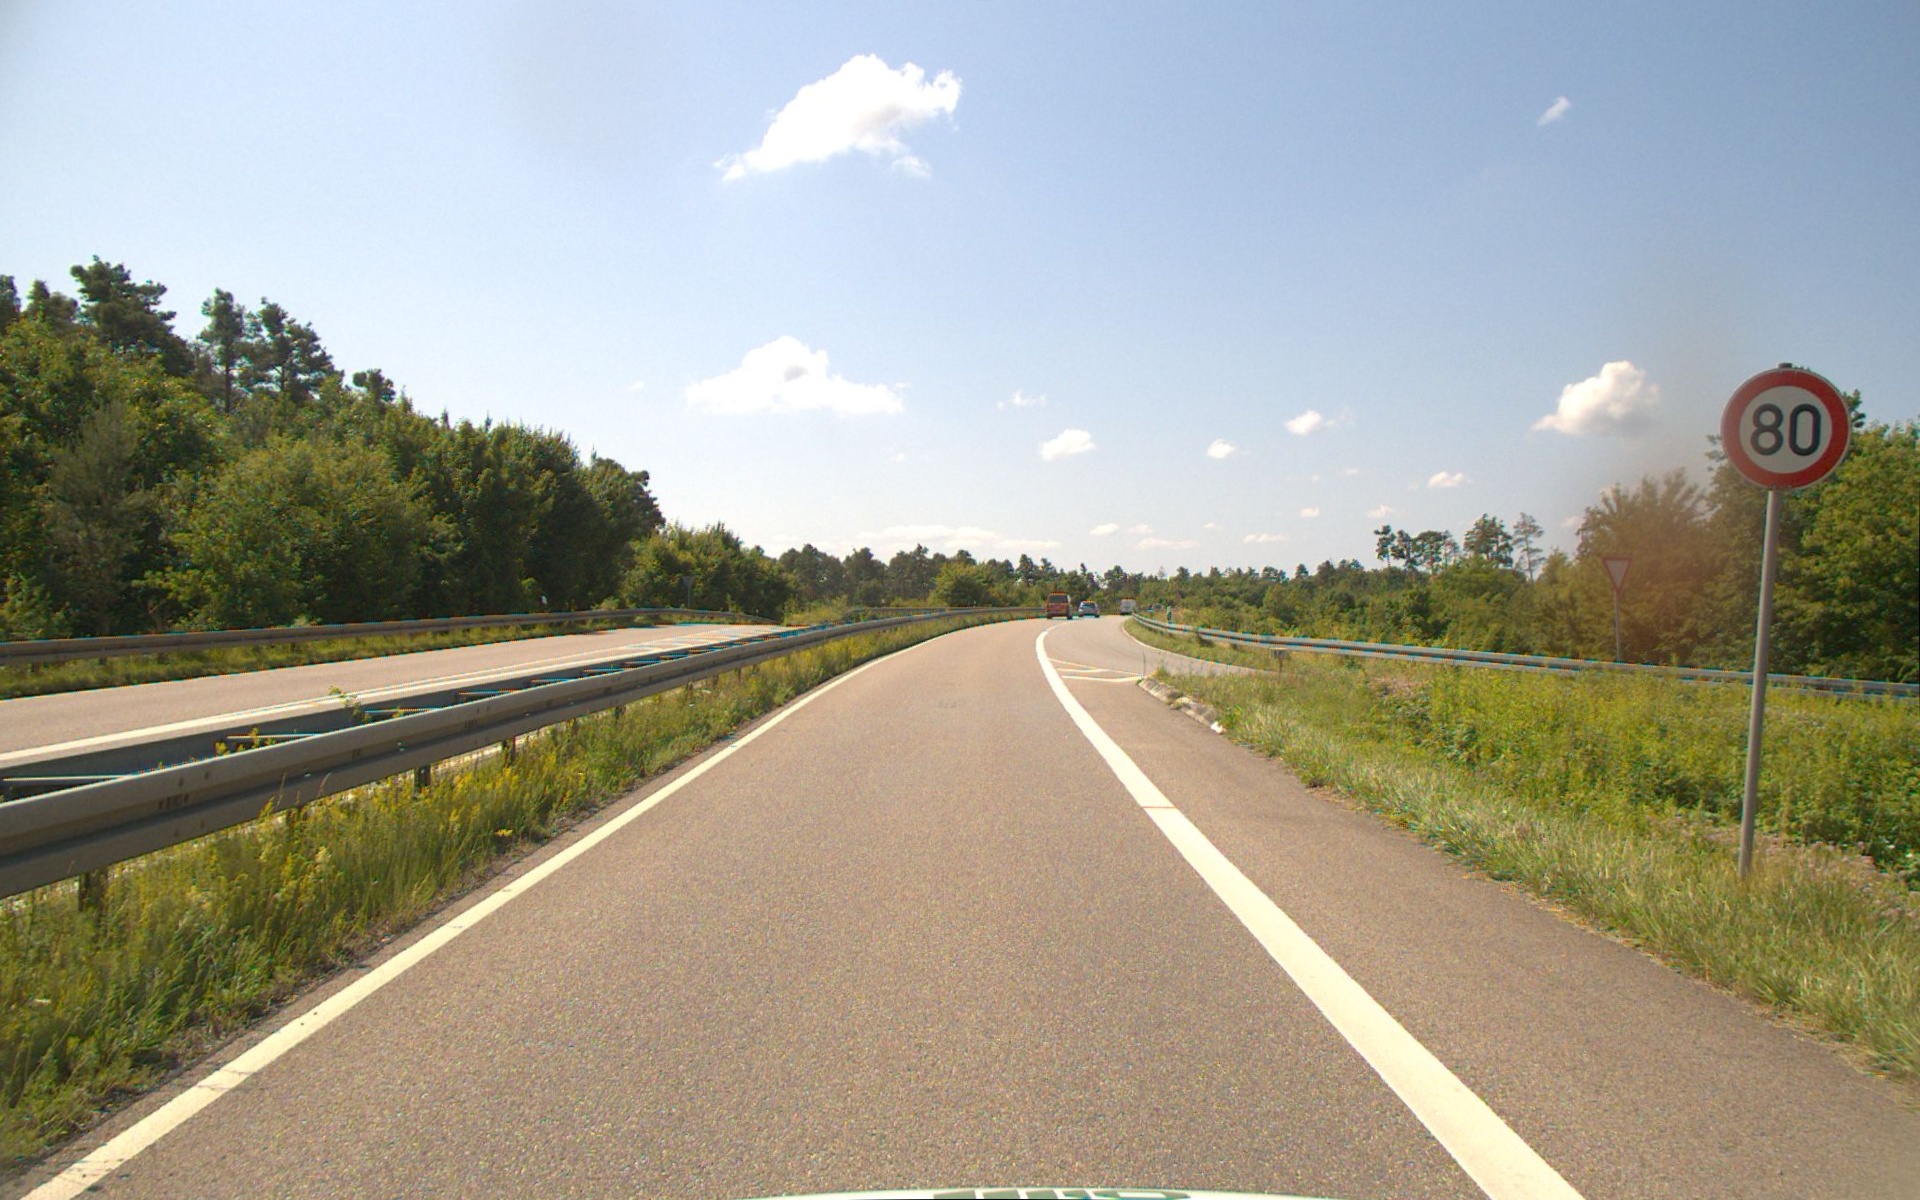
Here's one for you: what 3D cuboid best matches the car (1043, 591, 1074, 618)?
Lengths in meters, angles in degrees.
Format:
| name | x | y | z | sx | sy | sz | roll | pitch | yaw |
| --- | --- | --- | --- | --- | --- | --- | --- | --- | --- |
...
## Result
| name | x | y | z | sx | sy | sz | roll | pitch | yaw |
| --- | --- | --- | --- | --- | --- | --- | --- | --- | --- |
| car | 7.838 | 0.349 | 131.134 | 2.033 | 2.028 | 5.115 | 1 | -1 | 7 |

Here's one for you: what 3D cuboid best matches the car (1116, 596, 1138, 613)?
| name | x | y | z | sx | sy | sz | roll | pitch | yaw |
| --- | --- | --- | --- | --- | --- | --- | --- | --- | --- |
| car | 20.625 | 0.619 | 204.395 | 2.138 | 1.989 | 5.808 | 1 | -1 | 11 |

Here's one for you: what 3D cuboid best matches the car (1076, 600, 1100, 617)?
| name | x | y | z | sx | sy | sz | roll | pitch | yaw |
| --- | --- | --- | --- | --- | --- | --- | --- | --- | --- |
| car | 11.874 | 0.788 | 153.557 | 1.964 | 1.520 | 4.241 | 1 | -1 | 7 |
